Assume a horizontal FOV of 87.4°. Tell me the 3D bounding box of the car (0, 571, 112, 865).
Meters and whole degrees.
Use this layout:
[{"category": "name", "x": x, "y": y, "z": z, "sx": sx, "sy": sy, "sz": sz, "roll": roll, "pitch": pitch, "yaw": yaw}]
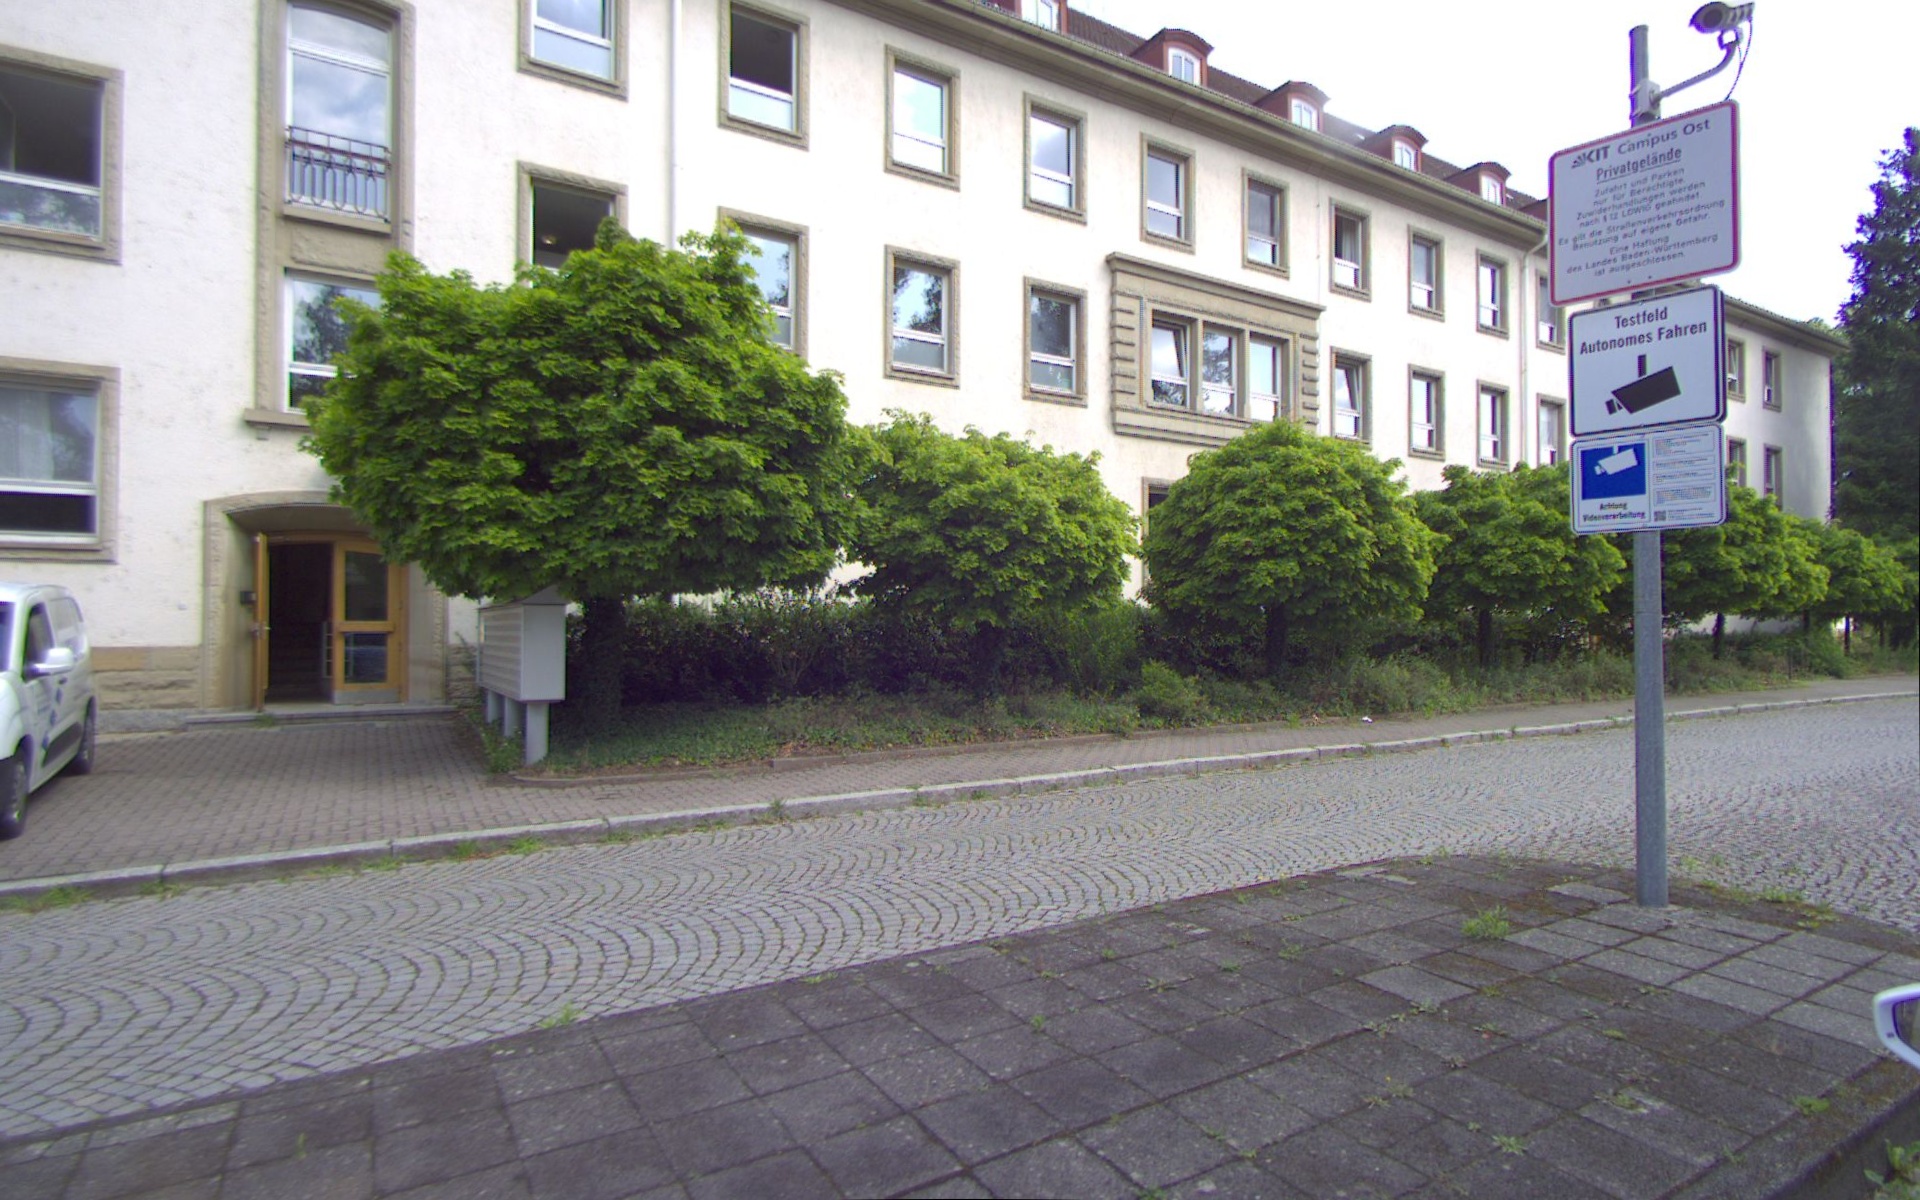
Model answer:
[{"category": "car", "x": -7.993, "y": 0.697, "z": 7.663, "sx": 1.801, "sy": 1.830, "sz": 4.274, "roll": 1, "pitch": 1, "yaw": -34}]
